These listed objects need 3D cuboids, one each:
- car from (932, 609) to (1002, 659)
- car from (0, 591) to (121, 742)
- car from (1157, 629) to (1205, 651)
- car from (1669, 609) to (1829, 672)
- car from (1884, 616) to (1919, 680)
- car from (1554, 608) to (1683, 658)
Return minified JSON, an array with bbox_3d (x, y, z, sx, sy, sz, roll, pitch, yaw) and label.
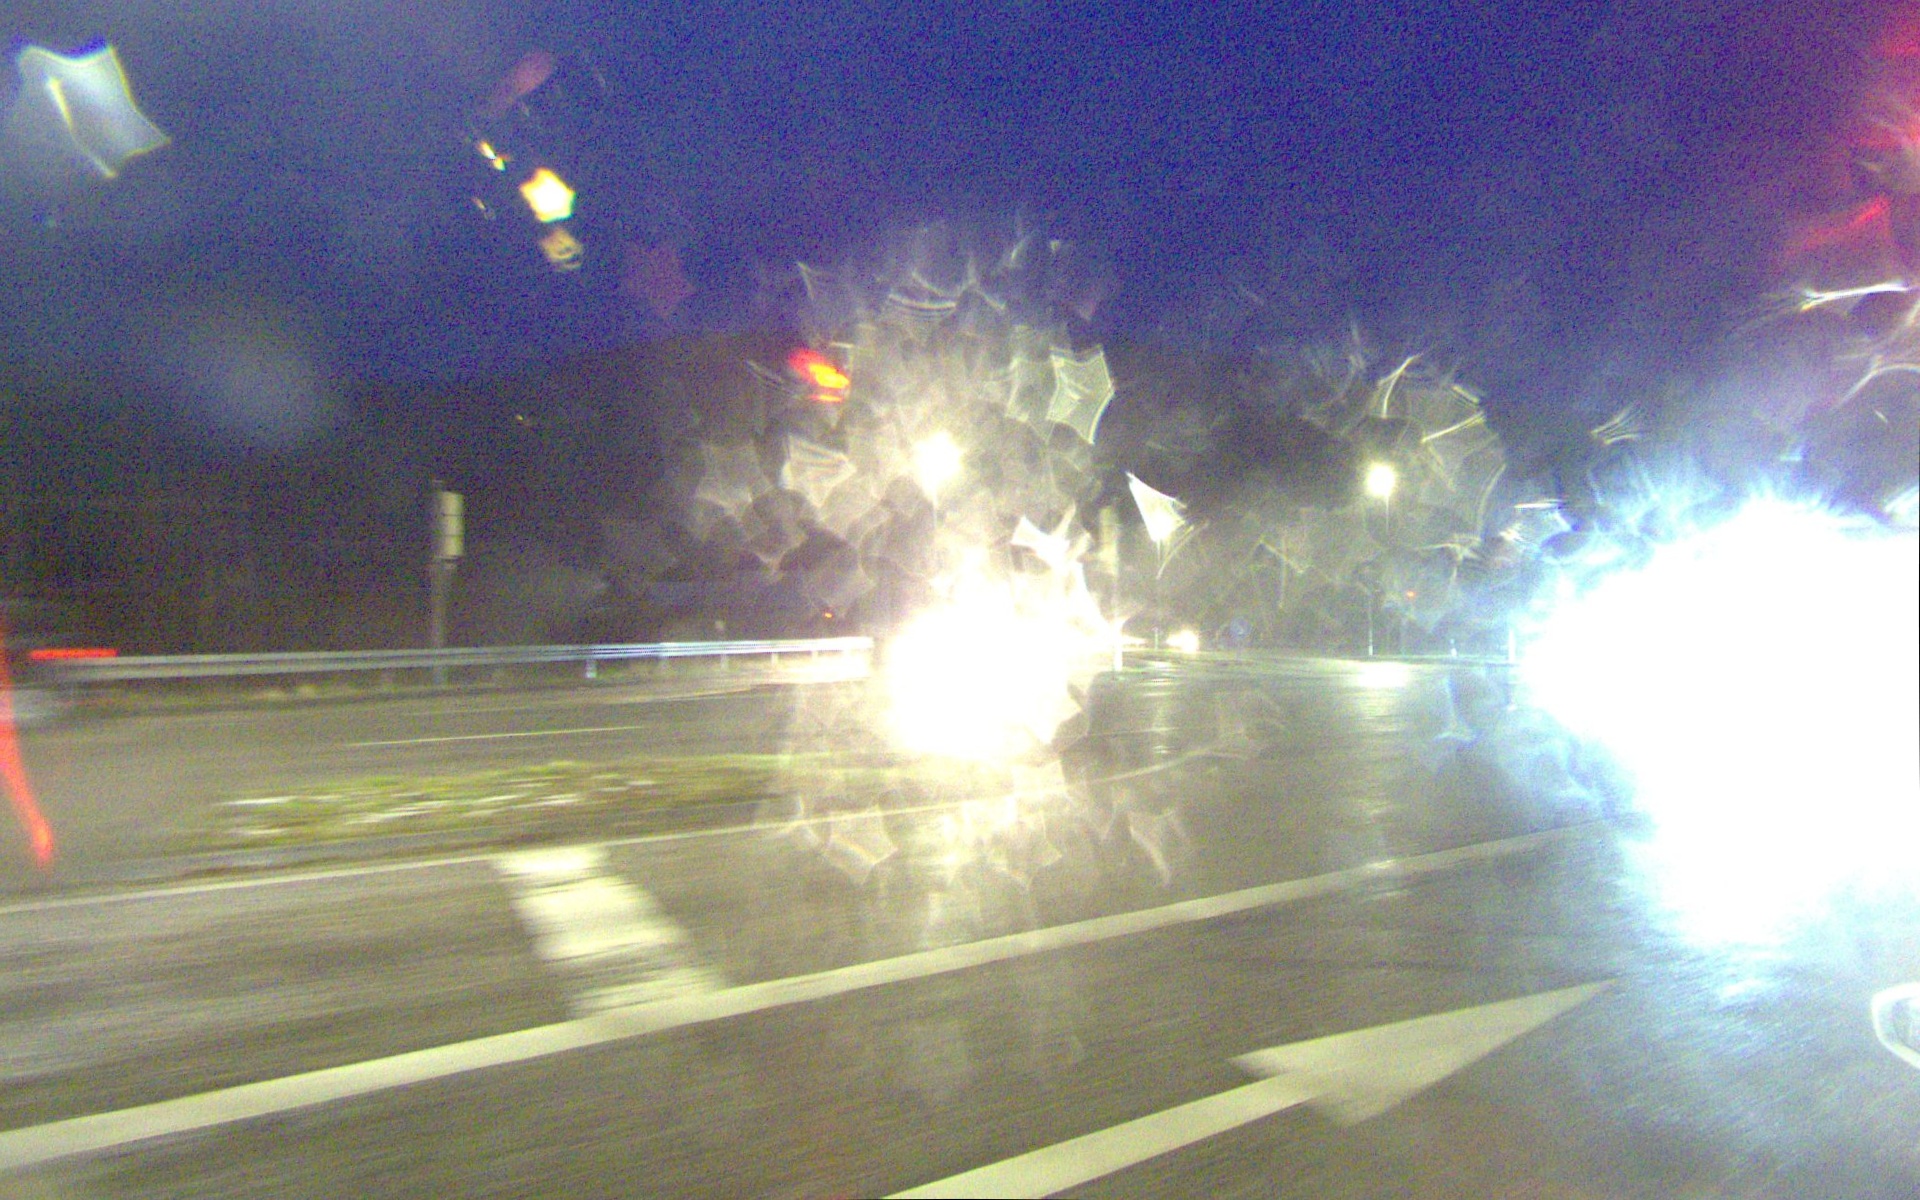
[{"bbox_3d":[0.315,1.119,33.955,1.716,1.523,4.896,1,-1,7],"label":"car"},{"bbox_3d":[-12.042,0.689,10.761,1.688,1.675,4.483,1,-1,42],"label":"car"},{"bbox_3d":[15.935,2.917,72.376,1.633,1.518,4.357,-3,-4,38],"label":"car"},{"bbox_3d":[21.871,1.091,27.791,4.855,1.592,1.784,1,-1,-30],"label":"car"},{"bbox_3d":[26.321,1.247,26.337,4.654,1.592,1.691,1,-1,-29],"label":"car"},{"bbox_3d":[25.363,1.260,38.859,3.924,1.856,1.720,0,-1,25],"label":"car"}]
